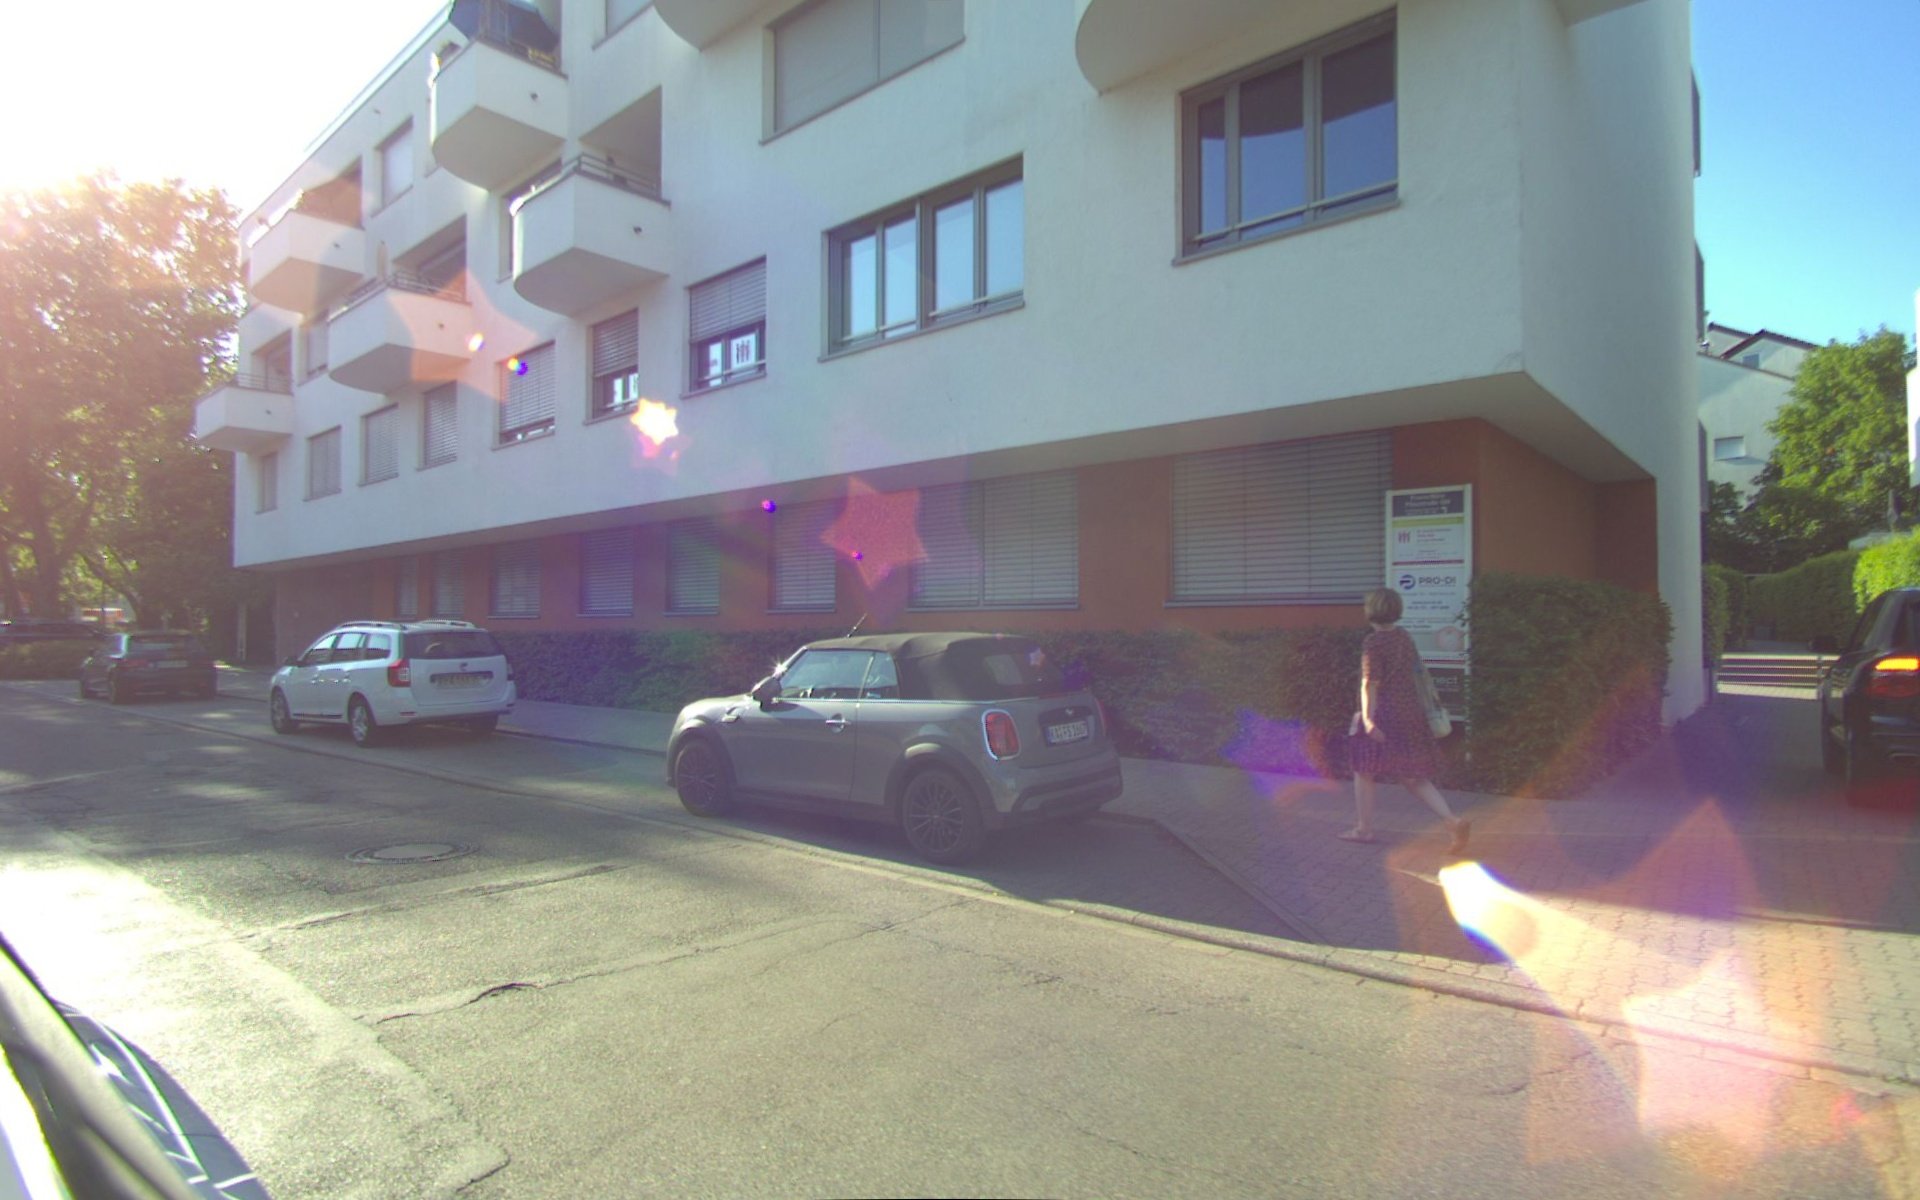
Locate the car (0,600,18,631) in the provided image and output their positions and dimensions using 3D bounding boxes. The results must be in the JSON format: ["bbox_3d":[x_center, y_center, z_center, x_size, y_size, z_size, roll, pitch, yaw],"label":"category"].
[{"bbox_3d":[-62.132,1.024,63.545,1.822,1.896,3.970,-1,1,23],"label":"car"}]

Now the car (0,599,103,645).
[{"bbox_3d":[-39.249,0.886,42.822,1.889,1.788,4.248,-1,1,16],"label":"car"}]

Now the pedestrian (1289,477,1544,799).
[{"bbox_3d":[2.894,0.196,6.495,0.849,1.832,1.136,-5,2,-27],"label":"pedestrian"}]

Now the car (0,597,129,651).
[{"bbox_3d":[-30.780,0.772,34.253,1.682,1.674,3.946,-1,1,11],"label":"car"}]

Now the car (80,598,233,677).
[{"bbox_3d":[-16.862,0.731,21.193,3.766,1.444,1.659,-1,2,38],"label":"car"}]

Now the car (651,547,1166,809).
[{"bbox_3d":[-0.543,0.441,7.846,3.853,1.547,1.651,-1,2,39],"label":"car"}]

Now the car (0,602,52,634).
[{"bbox_3d":[-53.126,1.006,56.271,1.633,1.674,3.636,-1,1,13],"label":"car"}]

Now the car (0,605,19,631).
[{"bbox_3d":[-59.992,1.155,61.656,1.638,1.572,3.575,-1,1,21],"label":"car"}]

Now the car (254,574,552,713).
[{"bbox_3d":[-7.813,0.516,14.017,4.613,1.599,1.841,-1,2,37],"label":"car"}]

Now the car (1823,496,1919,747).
[{"bbox_3d":[8.305,0.141,7.997,2.011,1.651,4.562,-2,-2,38],"label":"car"}]
